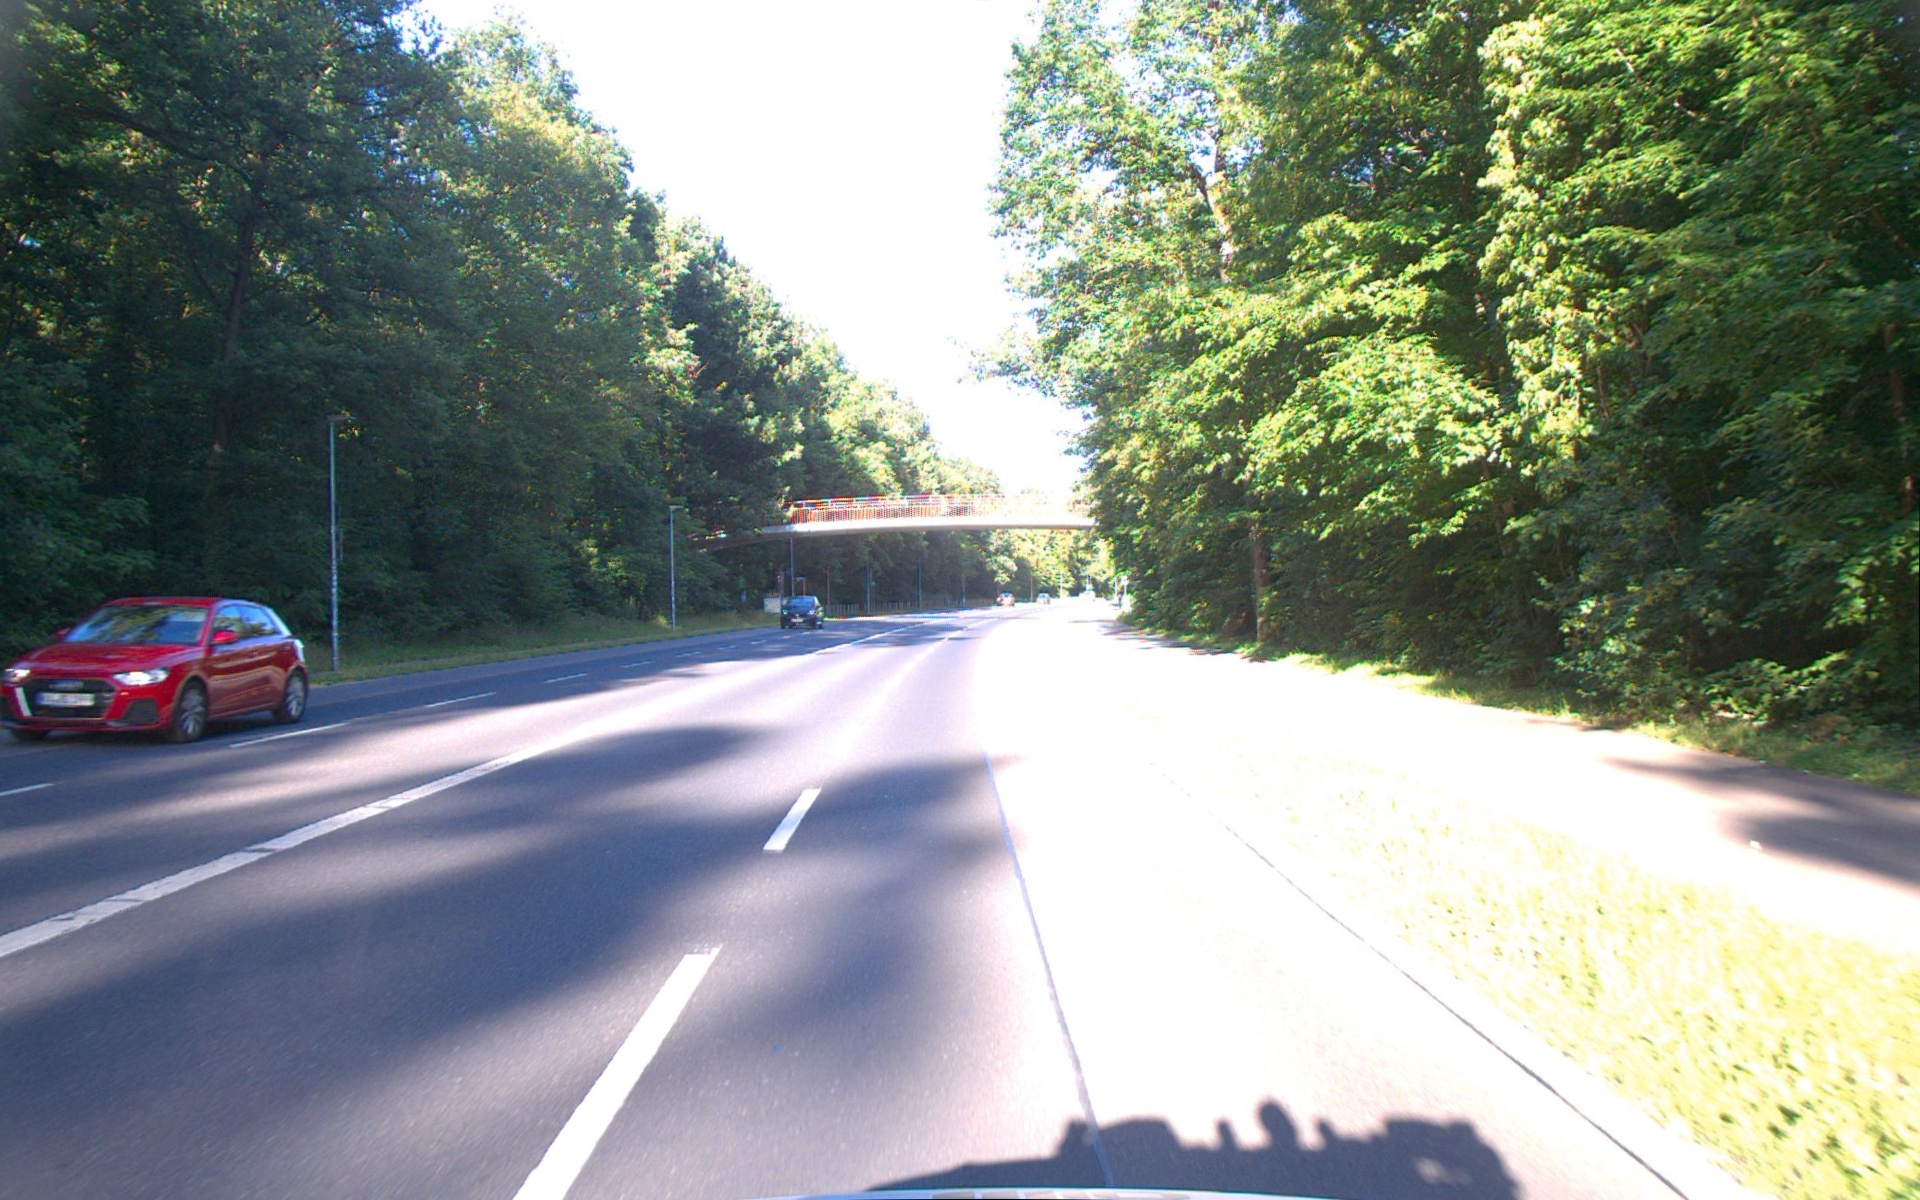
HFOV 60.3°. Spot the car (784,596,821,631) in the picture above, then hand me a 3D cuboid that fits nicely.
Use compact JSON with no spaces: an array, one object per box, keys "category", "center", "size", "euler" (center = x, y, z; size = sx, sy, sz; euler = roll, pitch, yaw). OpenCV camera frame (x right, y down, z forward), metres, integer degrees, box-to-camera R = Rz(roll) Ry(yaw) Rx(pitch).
[{"category":"car","center":[-7.048,0.586,74.243],"size":[1.465,1.470,3.498],"euler":[0,0,-2]}]

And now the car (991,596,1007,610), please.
[{"category":"car","center":[4.814,0.348,203.574],"size":[1.724,1.610,4.171],"euler":[1,0,5]}]

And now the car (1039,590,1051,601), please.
[{"category":"car","center":[12.435,-0.643,241.666],"size":[1.686,1.601,4.180],"euler":[1,0,5]}]
